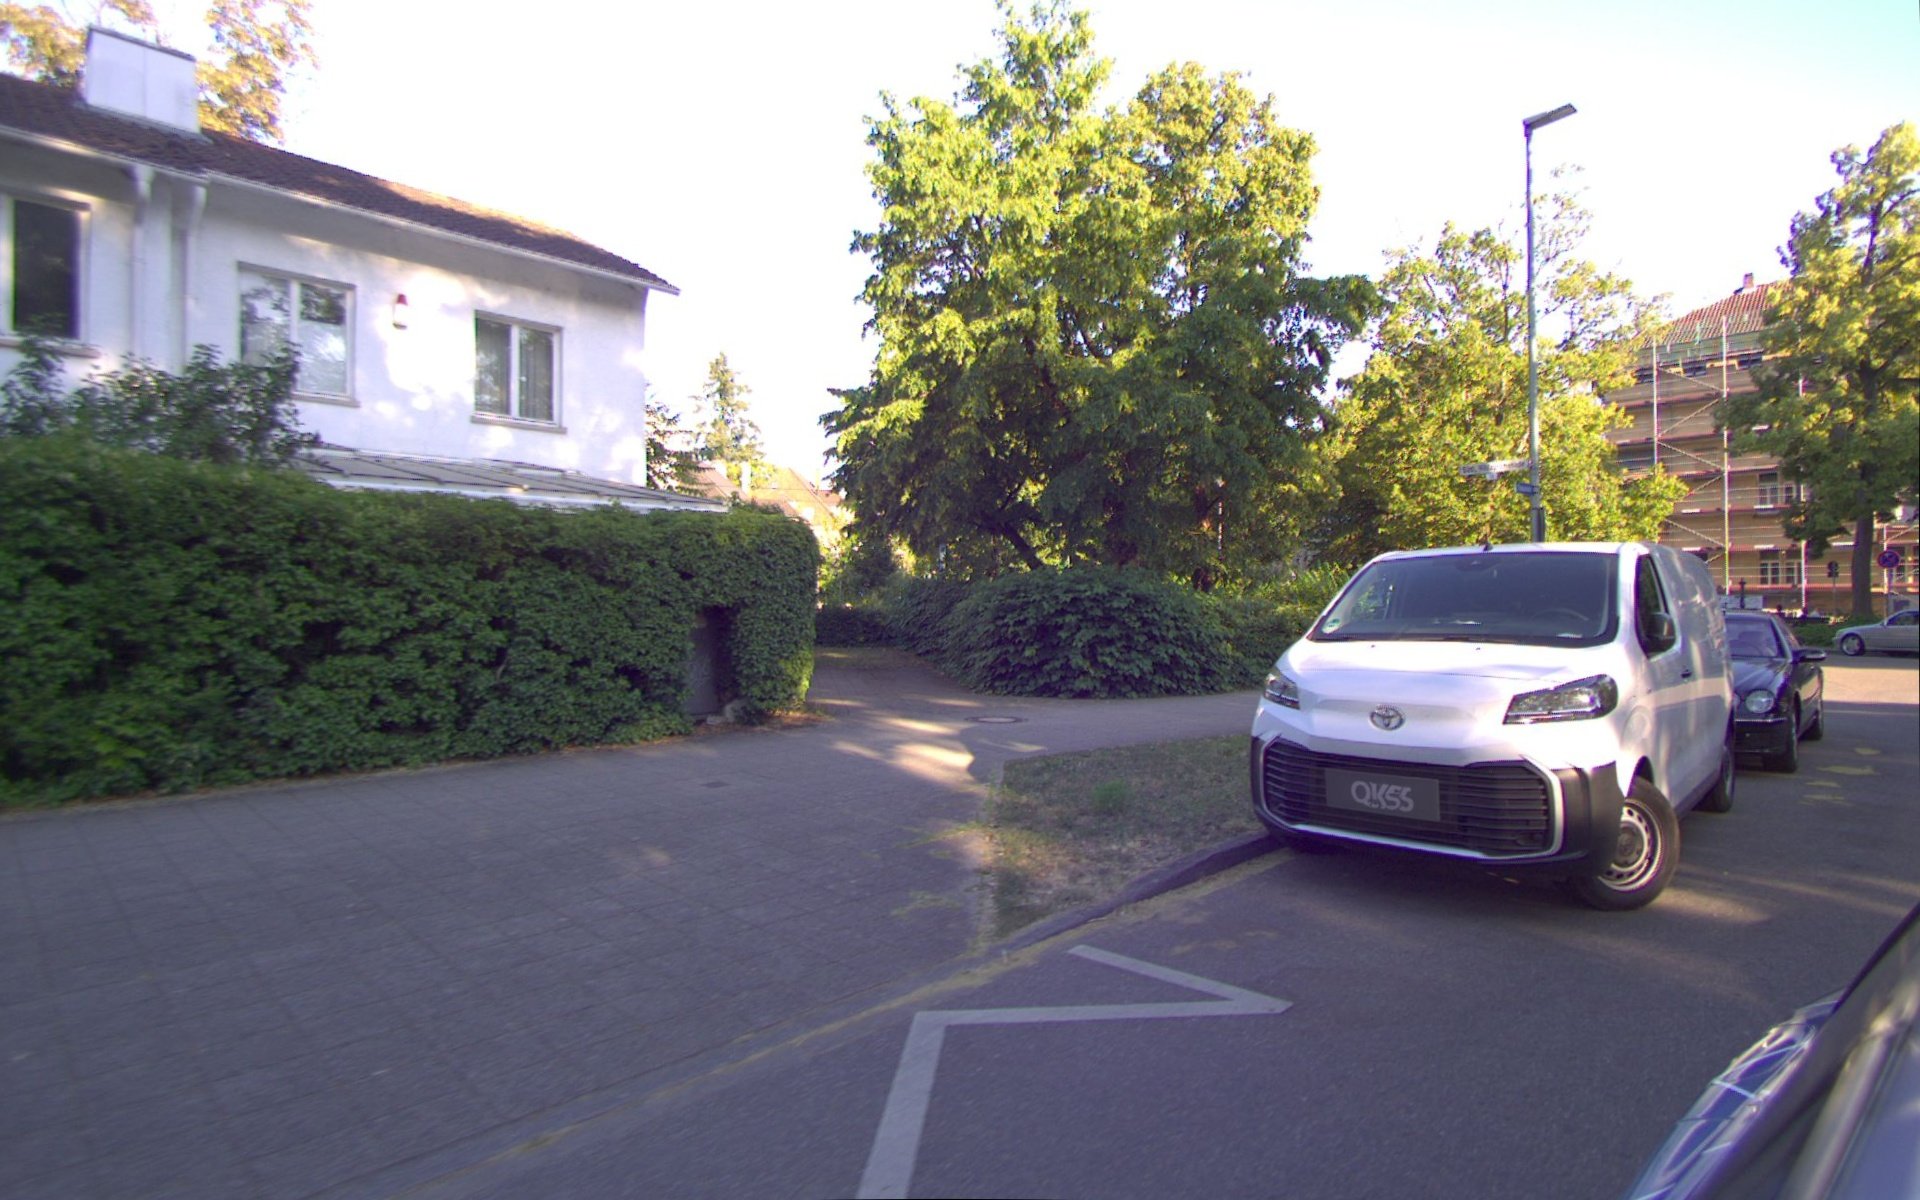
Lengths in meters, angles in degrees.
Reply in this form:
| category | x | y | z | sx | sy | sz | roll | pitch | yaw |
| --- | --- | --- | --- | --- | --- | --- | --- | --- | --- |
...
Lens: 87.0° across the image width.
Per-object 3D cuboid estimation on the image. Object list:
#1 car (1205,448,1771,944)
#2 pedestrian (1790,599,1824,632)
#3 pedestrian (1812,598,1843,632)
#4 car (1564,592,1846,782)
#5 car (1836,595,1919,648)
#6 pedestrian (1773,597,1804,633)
| category | x | y | z | sx | sy | sz | roll | pitch | yaw |
| --- | --- | --- | --- | --- | --- | --- | --- | --- | --- |
| car | 3.802 | 0.394 | 6.687 | 1.952 | 2.039 | 5.071 | -1 | -1 | 44 |
| pedestrian | 31.718 | 0.574 | 37.909 | 0.543 | 1.211 | 0.882 | 0 | -1 | 8 |
| pedestrian | 32.260 | 0.543 | 37.620 | 0.543 | 1.249 | 0.723 | 0 | -1 | 8 |
| car | 7.738 | 0.683 | 10.291 | 1.765 | 1.487 | 4.789 | -1 | -1 | 43 |
| car | 26.997 | 0.609 | 27.762 | 1.749 | 1.434 | 4.502 | 2 | -1 | -6 |
| pedestrian | 30.979 | 0.550 | 37.855 | 0.543 | 1.314 | 0.764 | 0 | -1 | 8 |
